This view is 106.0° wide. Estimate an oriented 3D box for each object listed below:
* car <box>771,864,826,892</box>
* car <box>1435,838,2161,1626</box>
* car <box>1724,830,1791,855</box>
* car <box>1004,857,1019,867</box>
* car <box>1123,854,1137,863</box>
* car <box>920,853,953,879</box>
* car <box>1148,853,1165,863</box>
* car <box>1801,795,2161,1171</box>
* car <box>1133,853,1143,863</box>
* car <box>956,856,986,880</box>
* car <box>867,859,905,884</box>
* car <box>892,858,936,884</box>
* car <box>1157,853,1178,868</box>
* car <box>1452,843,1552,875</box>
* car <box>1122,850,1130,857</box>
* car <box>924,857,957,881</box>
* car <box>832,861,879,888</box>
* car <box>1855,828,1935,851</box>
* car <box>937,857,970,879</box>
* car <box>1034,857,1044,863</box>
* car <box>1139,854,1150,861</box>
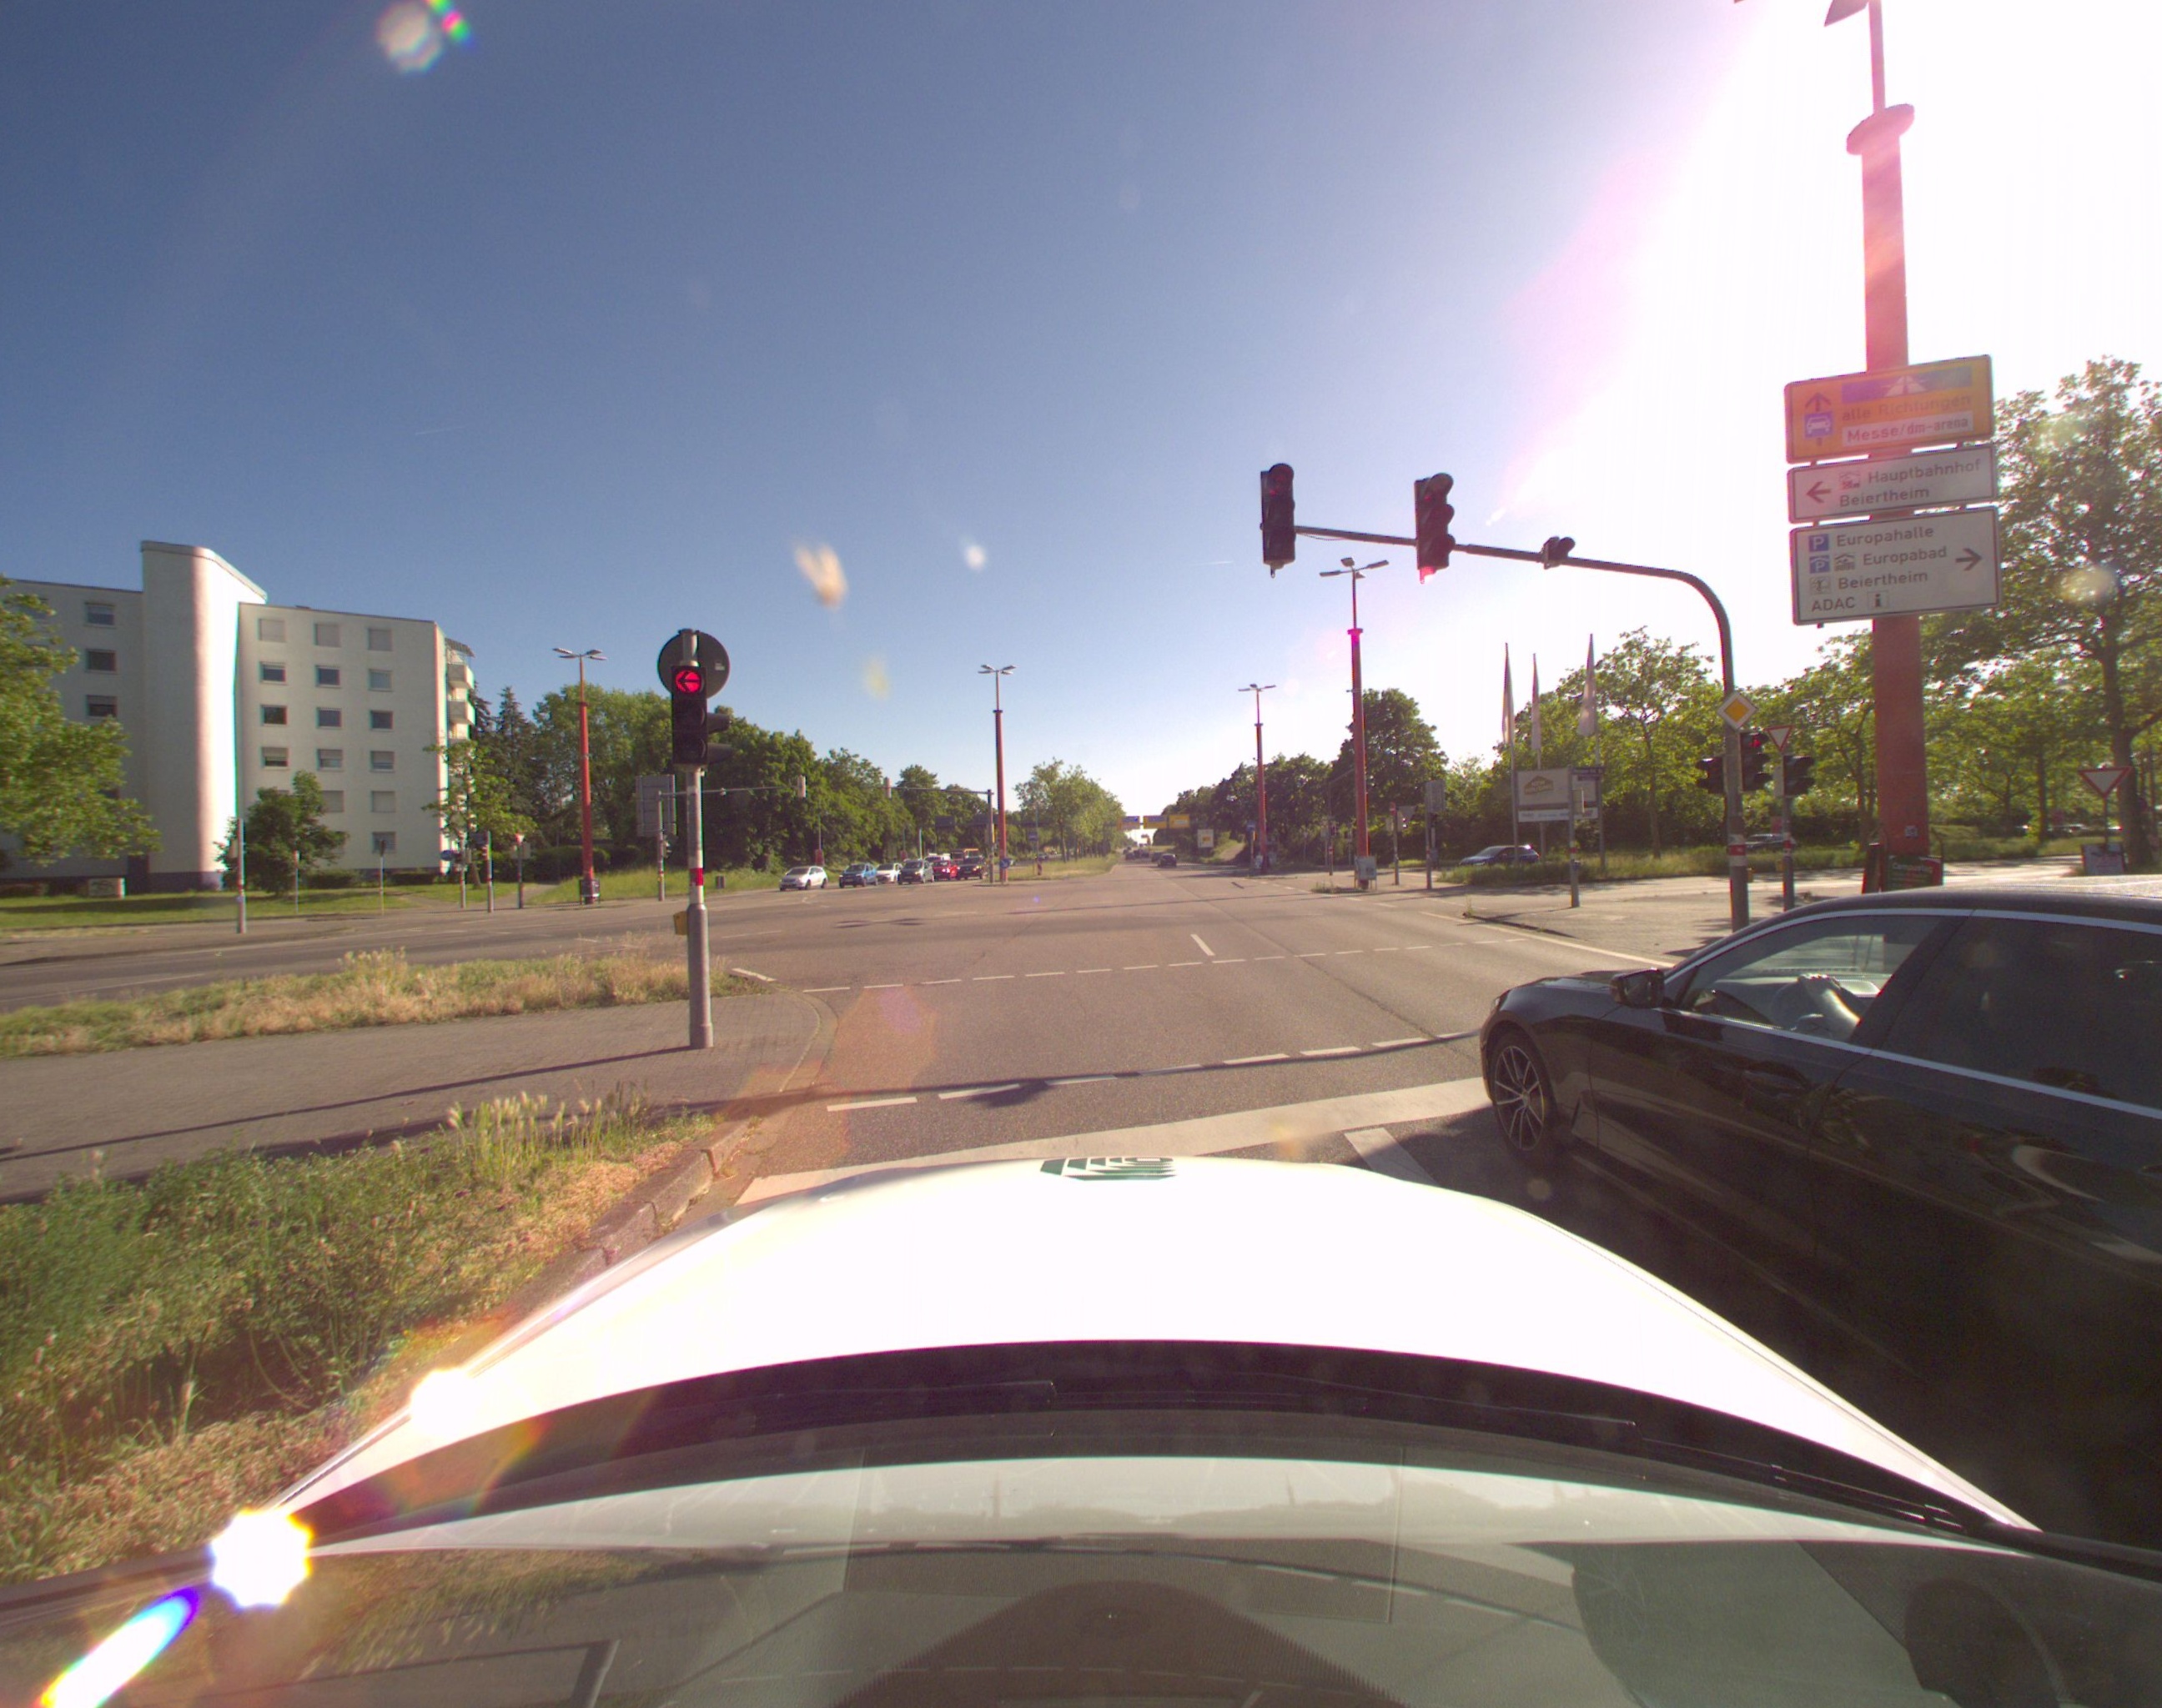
[{"bbox_3d":[-17.691,1.471,51.183,1.987,1.573,4.120,-2,0,0],"label":"car"},{"bbox_3d":[2.955,0.669,2.376,1.986,1.394,4.479,-2,0,2],"label":"car"},{"bbox_3d":[48.022,-0.817,57.816,4.596,1.573,2.145,-2,0,-30],"label":"car"},{"bbox_3d":[-11.961,1.319,140.769,1.986,1.573,4.123,-2,0,2],"label":"car"},{"bbox_3d":[9.352,0.818,155.363,2.241,1.573,4.276,-2,0,-3],"label":"car"},{"bbox_3d":[-12.733,1.057,71.989,2.055,2.193,4.377,-2,0,0],"label":"car"},{"bbox_3d":[12.411,0.637,134.238,2.153,1.573,4.277,-2,0,-2],"label":"car"},{"bbox_3d":[5.802,0.563,3.264,1.959,1.686,4.479,-1,0,2],"label":"car"},{"bbox_3d":[12.009,0.814,172.148,1.986,2.013,4.002,-2,0,2],"label":"car"},{"bbox_3d":[-7.564,0.943,56.492,1.874,1.573,4.112,-2,0,-6],"label":"car"},{"bbox_3d":[-13.737,1.220,57.526,1.991,1.573,4.112,-3,0,-6],"label":"car"},{"bbox_3d":[-10.731,1.050,52.583,1.988,1.573,4.119,-2,0,-1],"label":"car"},{"bbox_3d":[9.552,0.680,90.497,2.149,1.573,4.285,-2,0,4],"label":"car"},{"bbox_3d":[20.808,0.235,40.277,4.276,1.428,1.874,-2,0,-16],"label":"car"},{"bbox_3d":[12.839,-0.130,232.971,1.986,2.013,4.002,-2,0,2],"label":"car"},{"bbox_3d":[-10.101,1.050,58.874,1.991,1.573,4.112,-2,0,-6],"label":"car"},{"bbox_3d":[-14.234,1.288,51.643,1.989,1.573,4.116,-2,0,-3],"label":"car"},{"bbox_3d":[61.707,-1.122,61.779,4.263,1.573,2.160,-2,0,-8],"label":"car"},{"bbox_3d":[-10.064,1.097,64.656,1.988,1.573,4.118,-2,0,-1],"label":"car"},{"bbox_3d":[-9.715,1.340,187.966,1.877,1.454,3.658,-2,0,2],"label":"car"},{"bbox_3d":[14.708,0.720,188.178,2.153,1.573,4.277,-2,0,-2],"label":"car"}]
